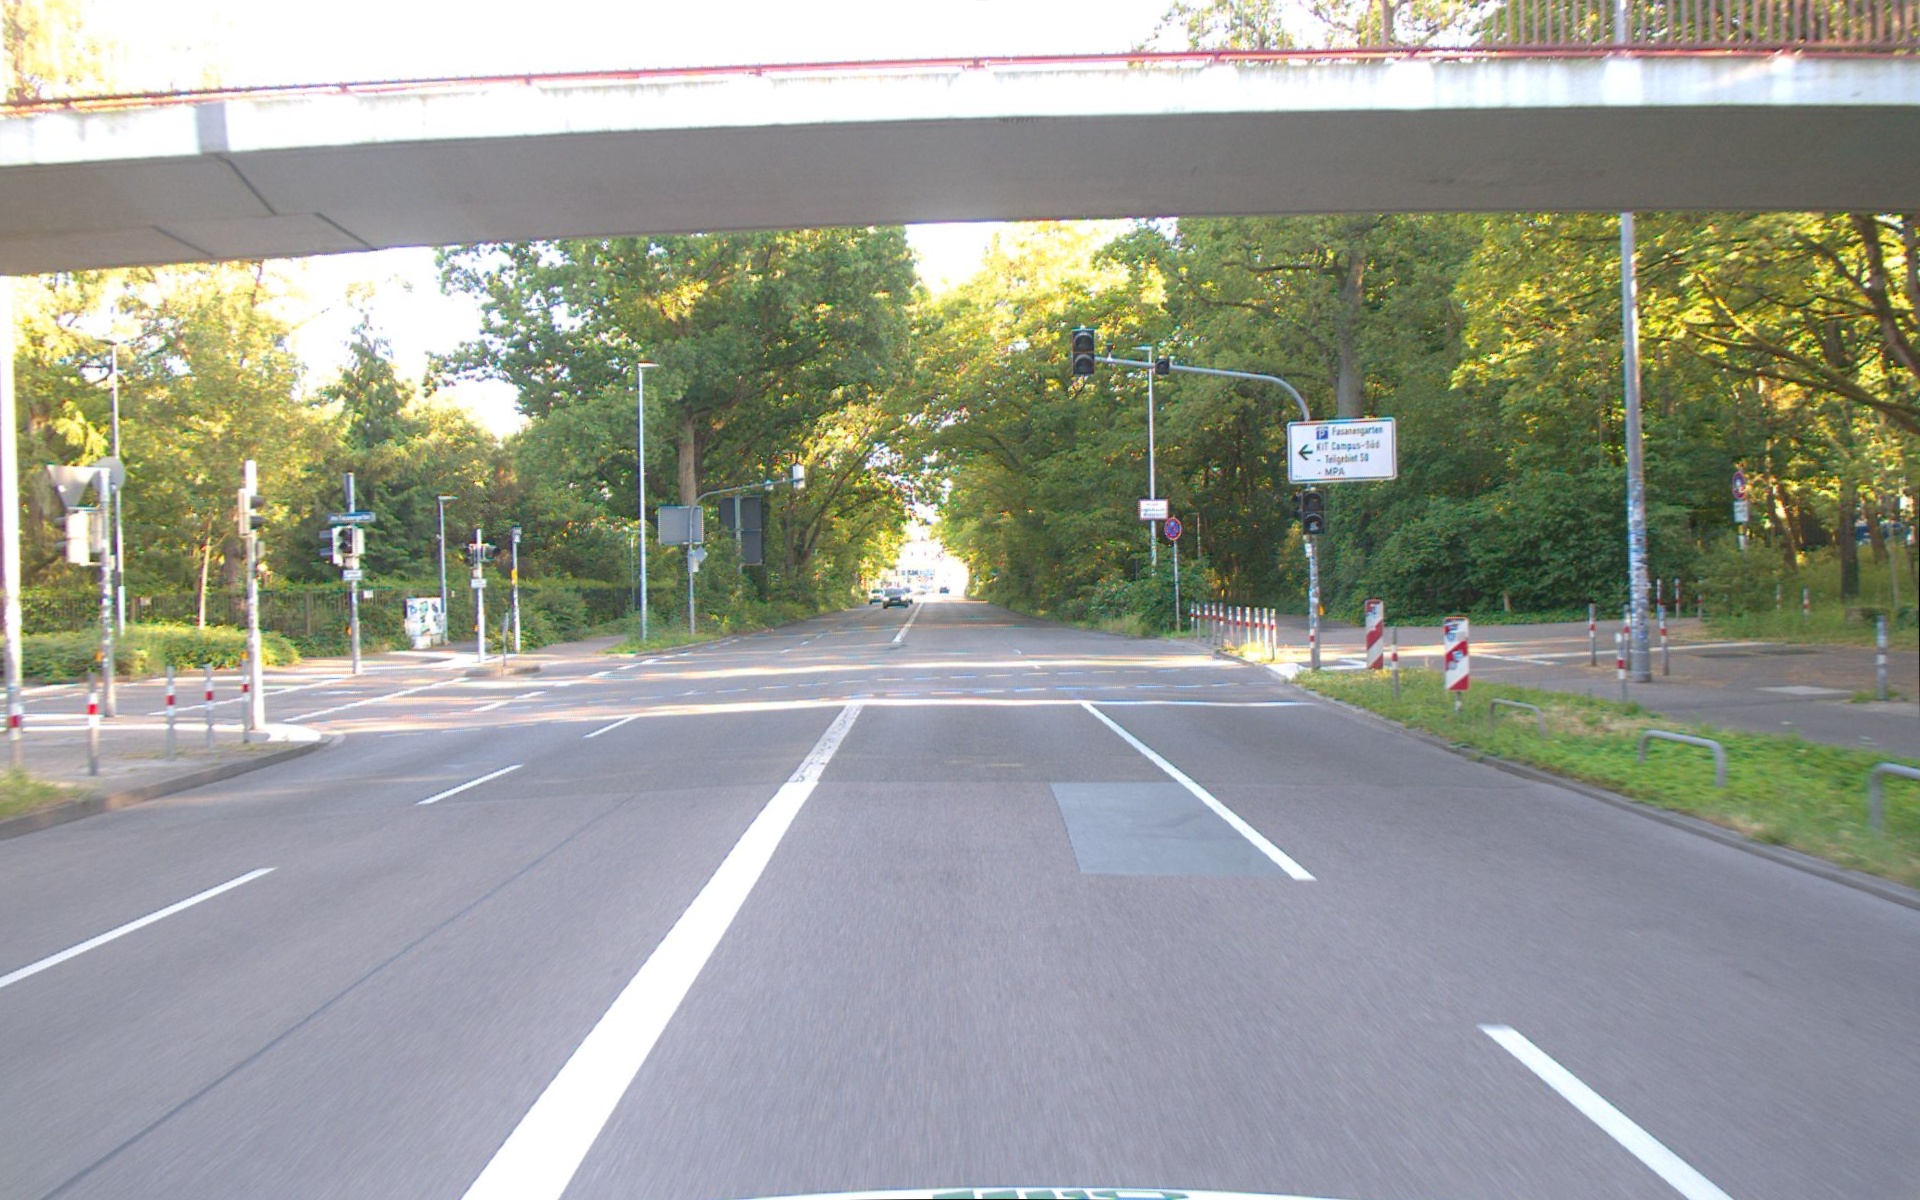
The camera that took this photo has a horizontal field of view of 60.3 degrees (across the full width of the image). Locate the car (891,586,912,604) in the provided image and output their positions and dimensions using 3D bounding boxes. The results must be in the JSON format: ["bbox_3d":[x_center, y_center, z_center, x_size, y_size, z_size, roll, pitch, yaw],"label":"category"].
[{"bbox_3d":[-5.271,-0.437,149.576,1.761,1.533,4.362,-2,0,-2],"label":"car"}]

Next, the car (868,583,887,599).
[{"bbox_3d":[-8.251,-0.931,165.534,1.761,1.533,4.362,-2,0,-2],"label":"car"}]

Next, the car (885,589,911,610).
[{"bbox_3d":[-4.703,-0.046,125.501,1.849,1.533,4.362,-2,0,-2],"label":"car"}]
